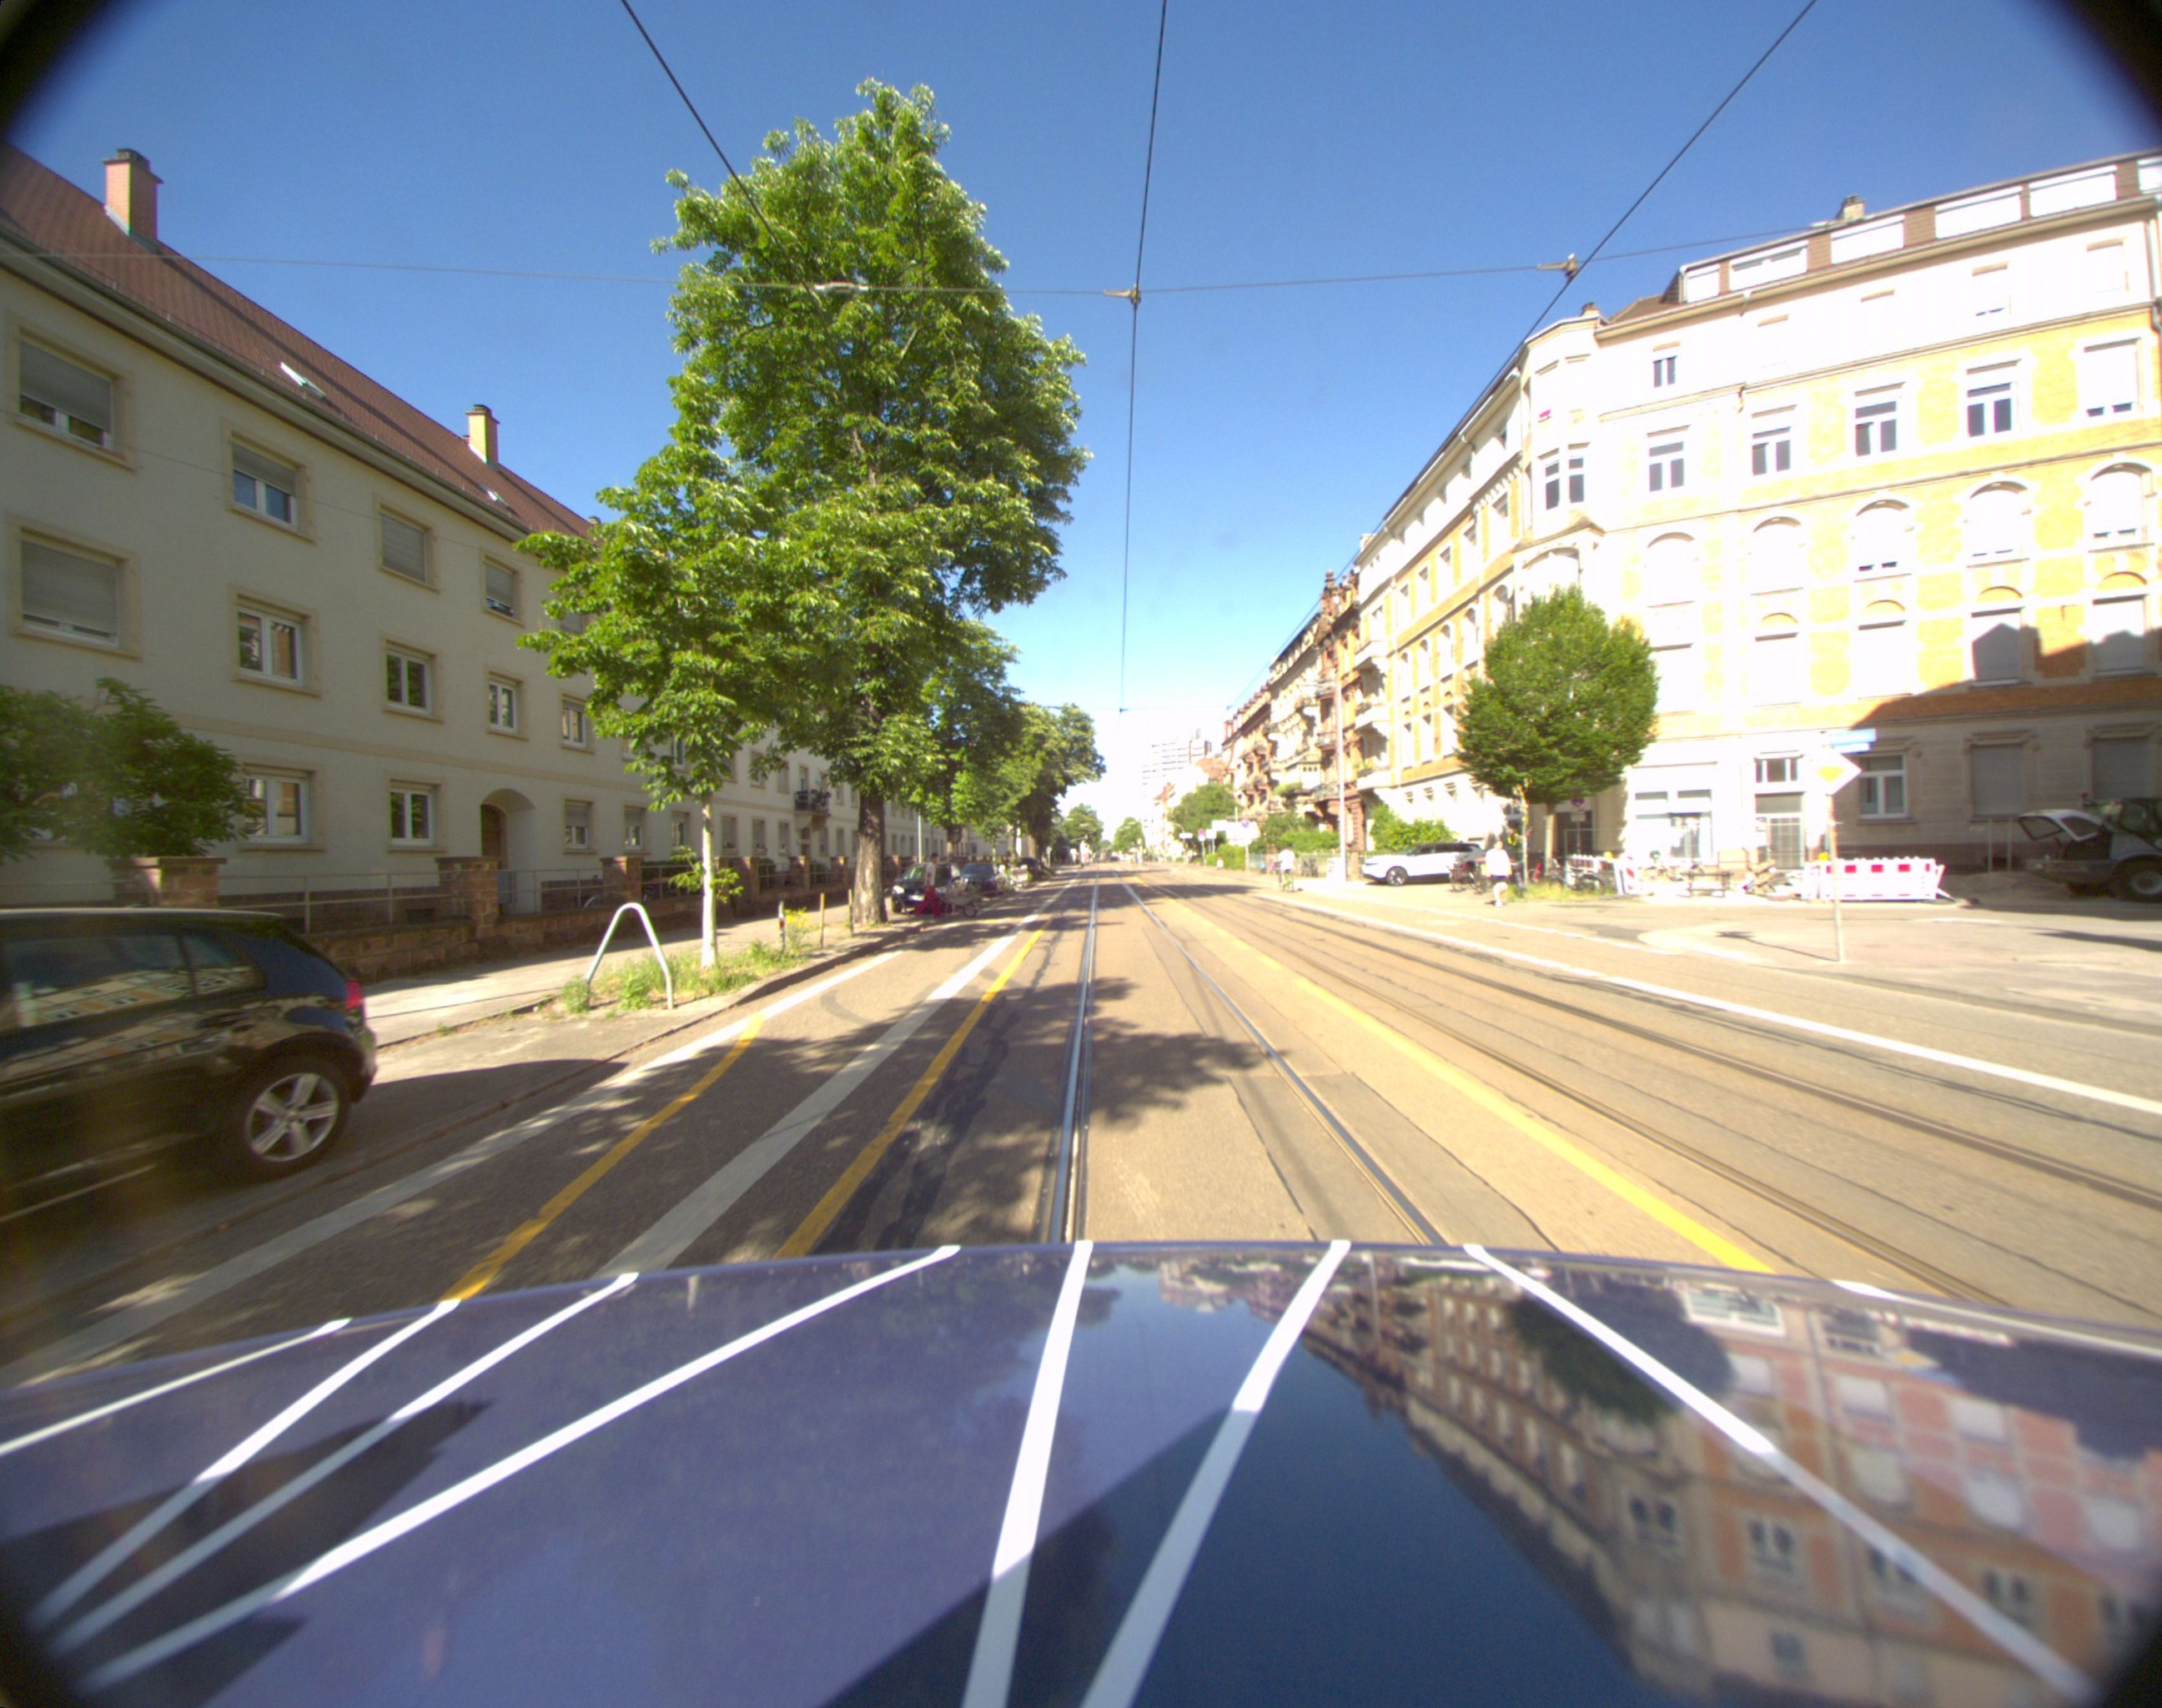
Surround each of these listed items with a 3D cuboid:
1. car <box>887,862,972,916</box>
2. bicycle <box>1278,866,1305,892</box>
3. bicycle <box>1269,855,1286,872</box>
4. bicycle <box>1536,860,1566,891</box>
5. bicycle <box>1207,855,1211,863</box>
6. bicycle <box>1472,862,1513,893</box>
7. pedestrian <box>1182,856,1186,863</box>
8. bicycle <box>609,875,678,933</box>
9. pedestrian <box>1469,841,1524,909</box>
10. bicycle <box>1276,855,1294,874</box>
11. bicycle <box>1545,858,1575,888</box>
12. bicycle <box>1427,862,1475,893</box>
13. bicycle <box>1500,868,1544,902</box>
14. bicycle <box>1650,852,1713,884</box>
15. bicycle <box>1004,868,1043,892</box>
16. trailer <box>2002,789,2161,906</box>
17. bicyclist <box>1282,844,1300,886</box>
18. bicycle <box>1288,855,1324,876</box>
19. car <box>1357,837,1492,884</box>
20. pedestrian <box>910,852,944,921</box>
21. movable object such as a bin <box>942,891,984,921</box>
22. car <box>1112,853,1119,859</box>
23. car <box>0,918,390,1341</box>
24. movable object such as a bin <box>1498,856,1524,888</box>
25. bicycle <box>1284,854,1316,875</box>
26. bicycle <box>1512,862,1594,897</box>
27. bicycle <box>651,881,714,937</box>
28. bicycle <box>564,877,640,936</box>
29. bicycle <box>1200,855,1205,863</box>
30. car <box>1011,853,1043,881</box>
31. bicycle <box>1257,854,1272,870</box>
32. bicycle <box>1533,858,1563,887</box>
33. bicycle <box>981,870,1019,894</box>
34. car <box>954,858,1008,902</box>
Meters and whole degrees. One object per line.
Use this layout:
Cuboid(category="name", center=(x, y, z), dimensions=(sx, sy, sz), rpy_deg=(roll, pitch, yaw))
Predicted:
Cuboid(category="car", center=(-4.511, 0.998, 23.173), dimensions=(1.724, 1.465, 4.246), rpy_deg=(0, 0, 0))
Cuboid(category="bicycle", center=(8.004, 0.922, 28.918), dimensions=(0.461, 0.920, 2.203), rpy_deg=(0, 0, 2))
Cuboid(category="bicycle", center=(12.004, 0.562, 46.561), dimensions=(0.564, 1.027, 1.767), rpy_deg=(-3, 0, 1))
Cuboid(category="bicycle", center=(14.719, 0.657, 23.783), dimensions=(0.619, 0.909, 1.297), rpy_deg=(0, 2, 40))
Cuboid(category="bicycle", center=(14.268, 0.543, 84.796), dimensions=(0.342, 0.920, 1.944), rpy_deg=(-3, 0, 6))
Cuboid(category="bicycle", center=(13.181, 0.743, 24.320), dimensions=(1.297, 0.909, 0.619), rpy_deg=(-3, 2, -34))
Cuboid(category="pedestrian", center=(19.399, 0.948, 143.167), dimensions=(0.659, 1.274, 0.724), rpy_deg=(-3, 0, 2))
Cuboid(category="bicycle", center=(-10.046, 1.119, 17.516), dimensions=(0.544, 1.213, 1.741), rpy_deg=(0, 0, 1))
Cuboid(category="pedestrian", center=(10.880, 0.528, 19.938), dimensions=(0.831, 1.714, 1.082), rpy_deg=(-3, 1, 3))
Cuboid(category="bicycle", center=(11.964, 0.598, 44.541), dimensions=(0.564, 1.027, 1.767), rpy_deg=(-3, 0, 1))
Cuboid(category="bicycle", center=(16.263, 0.635, 25.799), dimensions=(1.545, 0.909, 0.246), rpy_deg=(-3, 2, -34))
Cuboid(category="bicycle", center=(12.395, 0.774, 25.442), dimensions=(1.791, 0.909, 0.619), rpy_deg=(-3, 2, -34))
Cuboid(category="bicycle", center=(12.837, 0.887, 22.116), dimensions=(1.297, 0.909, 0.619), rpy_deg=(-3, 2, -34))
Cuboid(category="bicycle", center=(20.530, 0.484, 25.986), dimensions=(1.600, 1.031, 0.407), rpy_deg=(-3, -1, 26))
Cuboid(category="bicycle", center=(-2.750, 1.251, 36.375), dimensions=(1.765, 1.071, 0.433), rpy_deg=(-3, 0, 3))
Cuboid(category="trailer", center=(24.916, -0.174, 18.301), dimensions=(2.921, 2.680, 1.830), rpy_deg=(0, 2, 25))
Cuboid(category="bicyclist", center=(8.005, 0.413, 28.986), dimensions=(0.465, 1.609, 0.744), rpy_deg=(1, 1, 2))
Cuboid(category="bicycle", center=(11.570, 0.614, 39.178), dimensions=(0.566, 1.027, 1.763), rpy_deg=(-2, -1, -35))
Cuboid(category="car", center=(13.606, 0.251, 30.300), dimensions=(4.455, 1.634, 1.967), rpy_deg=(-3, 1, 4))
Cuboid(category="pedestrian", center=(-4.067, 0.841, 20.079), dimensions=(0.602, 1.760, 0.911), rpy_deg=(1, 0, -29))
Cuboid(category="movable object such as a bin", center=(-3.168, 1.379, 20.342), dimensions=(0.925, 0.739, 0.665), rpy_deg=(2, 1, -29))
Cuboid(category="car", center=(10.359, 0.646, 230.999), dimensions=(1.902, 1.608, 4.264), rpy_deg=(0, 0, 0))
Cuboid(category="car", center=(-4.982, 1.115, 2.413), dimensions=(1.791, 1.455, 4.044), rpy_deg=(-1, 0, 1))
Cuboid(category="movable object such as a bin", center=(14.780, 0.612, 26.131), dimensions=(0.577, 1.064, 0.717), rpy_deg=(-3, 0, 15))
Cuboid(category="bicycle", center=(11.759, 0.582, 40.868), dimensions=(0.565, 1.027, 1.765), rpy_deg=(-6, 0, -23))
Cuboid(category="bicycle", center=(13.906, 0.738, 22.460), dimensions=(0.581, 0.970, 1.982), rpy_deg=(-3, 1, -33))
Cuboid(category="bicycle", center=(-9.440, 1.270, 18.059), dimensions=(0.544, 1.213, 1.741), rpy_deg=(0, 0, 1))
Cuboid(category="bicycle", center=(-10.723, 1.143, 17.076), dimensions=(0.544, 1.213, 1.741), rpy_deg=(0, 0, 1))
Cuboid(category="bicycle", center=(14.518, 0.609, 90.769), dimensions=(0.342, 0.920, 1.944), rpy_deg=(-3, 0, 6))
Cuboid(category="car", center=(-3.658, 0.858, 52.180), dimensions=(1.748, 1.755, 4.478), rpy_deg=(-3, 0, 1))
Cuboid(category="bicycle", center=(12.150, 0.554, 50.434), dimensions=(0.564, 1.027, 1.768), rpy_deg=(-3, -1, 2))
Cuboid(category="bicycle", center=(16.033, 0.632, 26.085), dimensions=(1.545, 0.909, 0.246), rpy_deg=(-3, 2, -34))
Cuboid(category="bicycle", center=(-3.936, 1.352, 36.976), dimensions=(1.765, 1.071, 0.433), rpy_deg=(-3, 0, 3))
Cuboid(category="car", center=(-4.246, 1.059, 32.733), dimensions=(1.669, 1.750, 4.231), rpy_deg=(-1, 0, 1))
